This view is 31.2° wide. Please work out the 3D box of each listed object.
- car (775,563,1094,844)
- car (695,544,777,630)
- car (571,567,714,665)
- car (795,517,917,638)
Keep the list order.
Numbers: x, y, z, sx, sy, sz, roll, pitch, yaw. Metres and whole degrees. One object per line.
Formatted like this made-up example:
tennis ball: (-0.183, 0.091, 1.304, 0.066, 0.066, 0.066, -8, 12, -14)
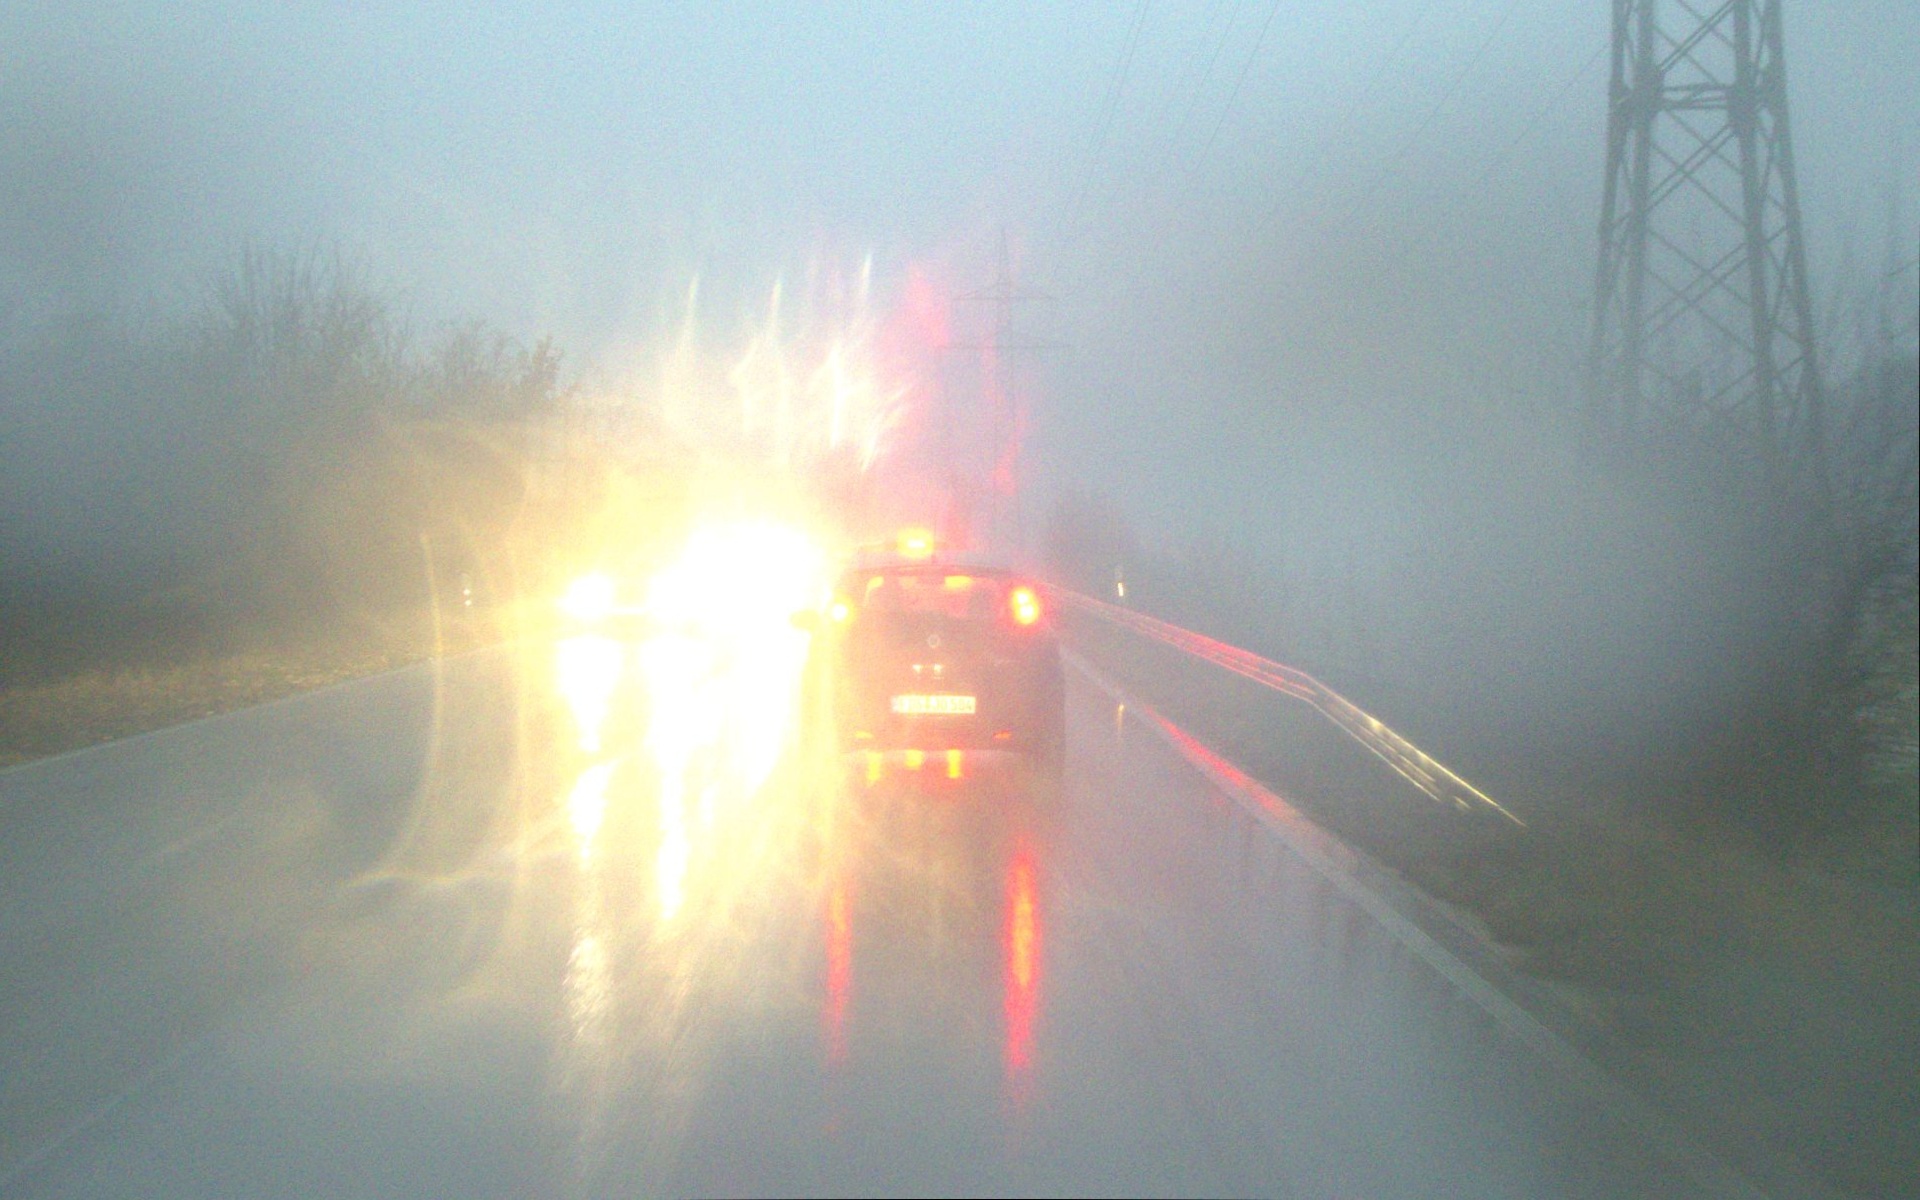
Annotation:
car: (-0.186, 0.627, 23.490, 1.993, 1.746, 4.000, 0, 1, -1)
car: (-5.692, -0.307, 87.816, 1.828, 2.111, 4.000, 1, -1, -1)
car: (-4.815, 0.257, 52.600, 1.828, 1.404, 4.000, 1, -1, -1)
car: (-1.756, -0.403, 59.420, 1.993, 2.007, 4.000, -1, 1, 0)
